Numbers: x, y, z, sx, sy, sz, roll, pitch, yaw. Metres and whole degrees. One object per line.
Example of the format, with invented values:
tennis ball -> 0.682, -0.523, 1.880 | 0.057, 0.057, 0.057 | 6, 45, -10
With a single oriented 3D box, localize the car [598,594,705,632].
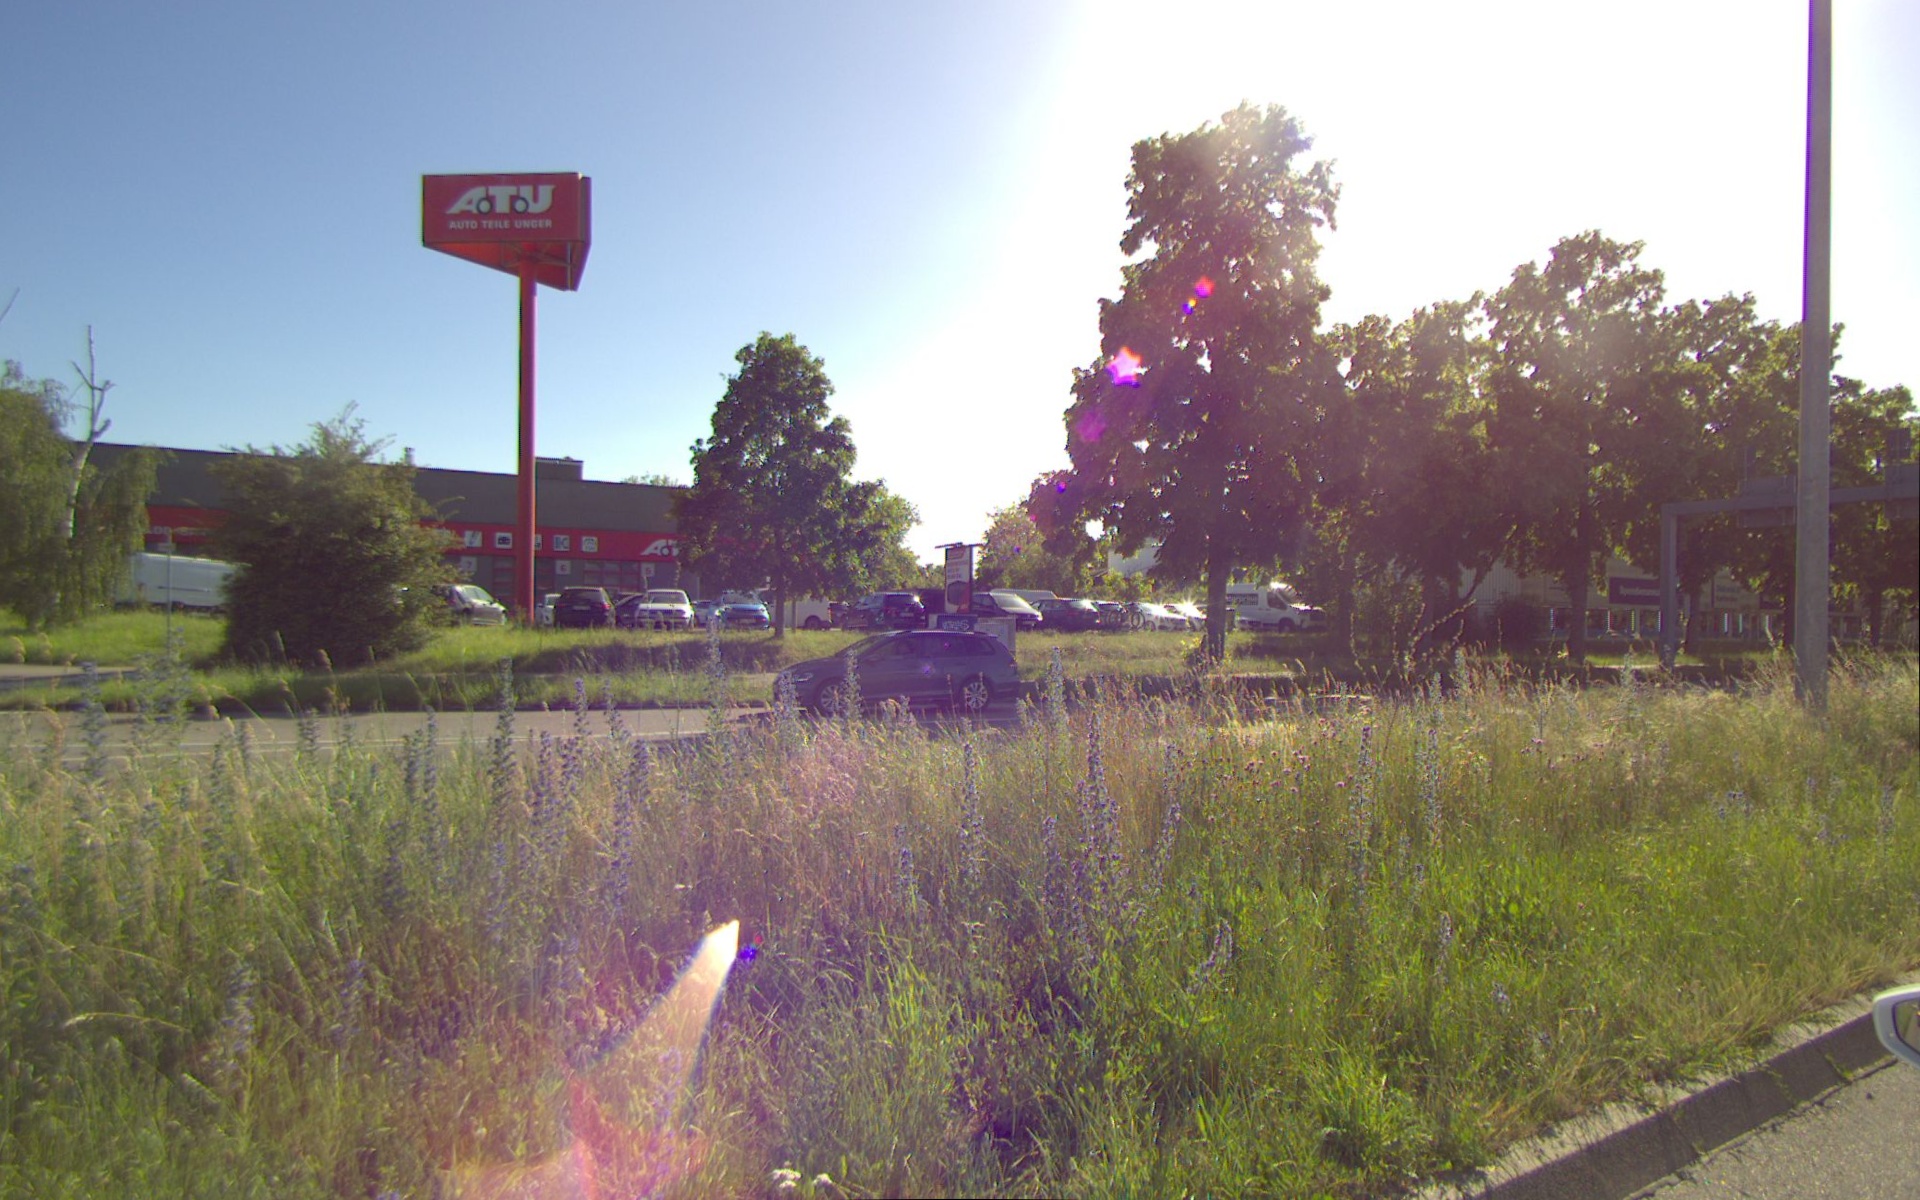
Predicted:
car -> -12.730, 0.544, 41.475 | 3.935, 1.474, 1.772 | 1, -1, -29

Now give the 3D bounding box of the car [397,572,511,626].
car -> -15.743, 0.011, 31.495 | 1.860, 1.572, 4.127 | 1, -1, -7

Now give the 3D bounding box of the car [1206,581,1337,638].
car -> 14.460, 0.467, 47.008 | 2.183, 2.465, 5.844 | 1, -1, -32

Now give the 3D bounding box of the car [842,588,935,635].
car -> -2.633, 0.423, 35.995 | 1.921, 1.572, 4.104 | 1, -1, -26

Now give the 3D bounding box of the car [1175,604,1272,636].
car -> 12.029, 0.924, 46.088 | 1.925, 1.407, 4.095 | 1, -1, -32

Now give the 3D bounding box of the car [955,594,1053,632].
car -> 1.664, 0.511, 39.247 | 1.924, 1.407, 4.098 | 1, -1, -30

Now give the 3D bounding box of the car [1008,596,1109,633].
car -> 3.852, 0.593, 39.975 | 1.925, 1.407, 4.095 | 1, -1, -32

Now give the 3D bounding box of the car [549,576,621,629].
car -> -12.025, 0.105, 32.413 | 1.865, 1.572, 4.117 | 1, -1, -17

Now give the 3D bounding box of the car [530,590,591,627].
car -> -17.207, 0.396, 43.158 | 1.873, 1.474, 4.099 | 1, -1, -29

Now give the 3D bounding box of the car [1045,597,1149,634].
car -> 5.592, 0.657, 41.502 | 1.923, 1.407, 4.600 | 1, -1, -29

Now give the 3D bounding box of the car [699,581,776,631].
car -> -7.644, 0.237, 34.252 | 1.793, 1.572, 4.107 | 1, -1, -24

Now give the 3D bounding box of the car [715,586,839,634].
car -> -8.049, 0.485, 44.254 | 5.062, 1.982, 1.774 | 1, -1, -26

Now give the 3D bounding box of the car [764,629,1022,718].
car -> -1.206, 1.287, 18.176 | 4.319, 1.444, 1.777 | 1, -3, -23

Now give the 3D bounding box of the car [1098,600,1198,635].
car -> 7.976, 0.762, 42.874 | 1.925, 1.407, 4.095 | 1, -1, -32

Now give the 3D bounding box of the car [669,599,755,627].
car -> -13.494, 0.718, 54.728 | 4.234, 1.474, 1.881 | 1, -1, -29

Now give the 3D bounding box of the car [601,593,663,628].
car -> -14.735, 0.489, 45.009 | 1.873, 1.474, 4.099 | 1, -1, -29

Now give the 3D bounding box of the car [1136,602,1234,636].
car -> 9.913, 0.841, 44.584 | 1.925, 1.407, 4.095 | 1, -1, -32

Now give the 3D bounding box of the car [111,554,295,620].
car -> -27.543, -0.404, 36.752 | 1.861, 2.180, 5.039 | 0, -1, 28

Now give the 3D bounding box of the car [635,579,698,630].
car -> -9.762, 0.189, 33.236 | 1.866, 1.572, 4.115 | 1, -1, -18

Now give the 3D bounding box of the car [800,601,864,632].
car -> -6.397, 0.817, 49.887 | 1.871, 1.474, 4.103 | 1, -1, -27

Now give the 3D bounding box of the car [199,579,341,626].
car -> -23.515, 0.123, 34.424 | 1.857, 1.474, 4.133 | 1, -1, 3
